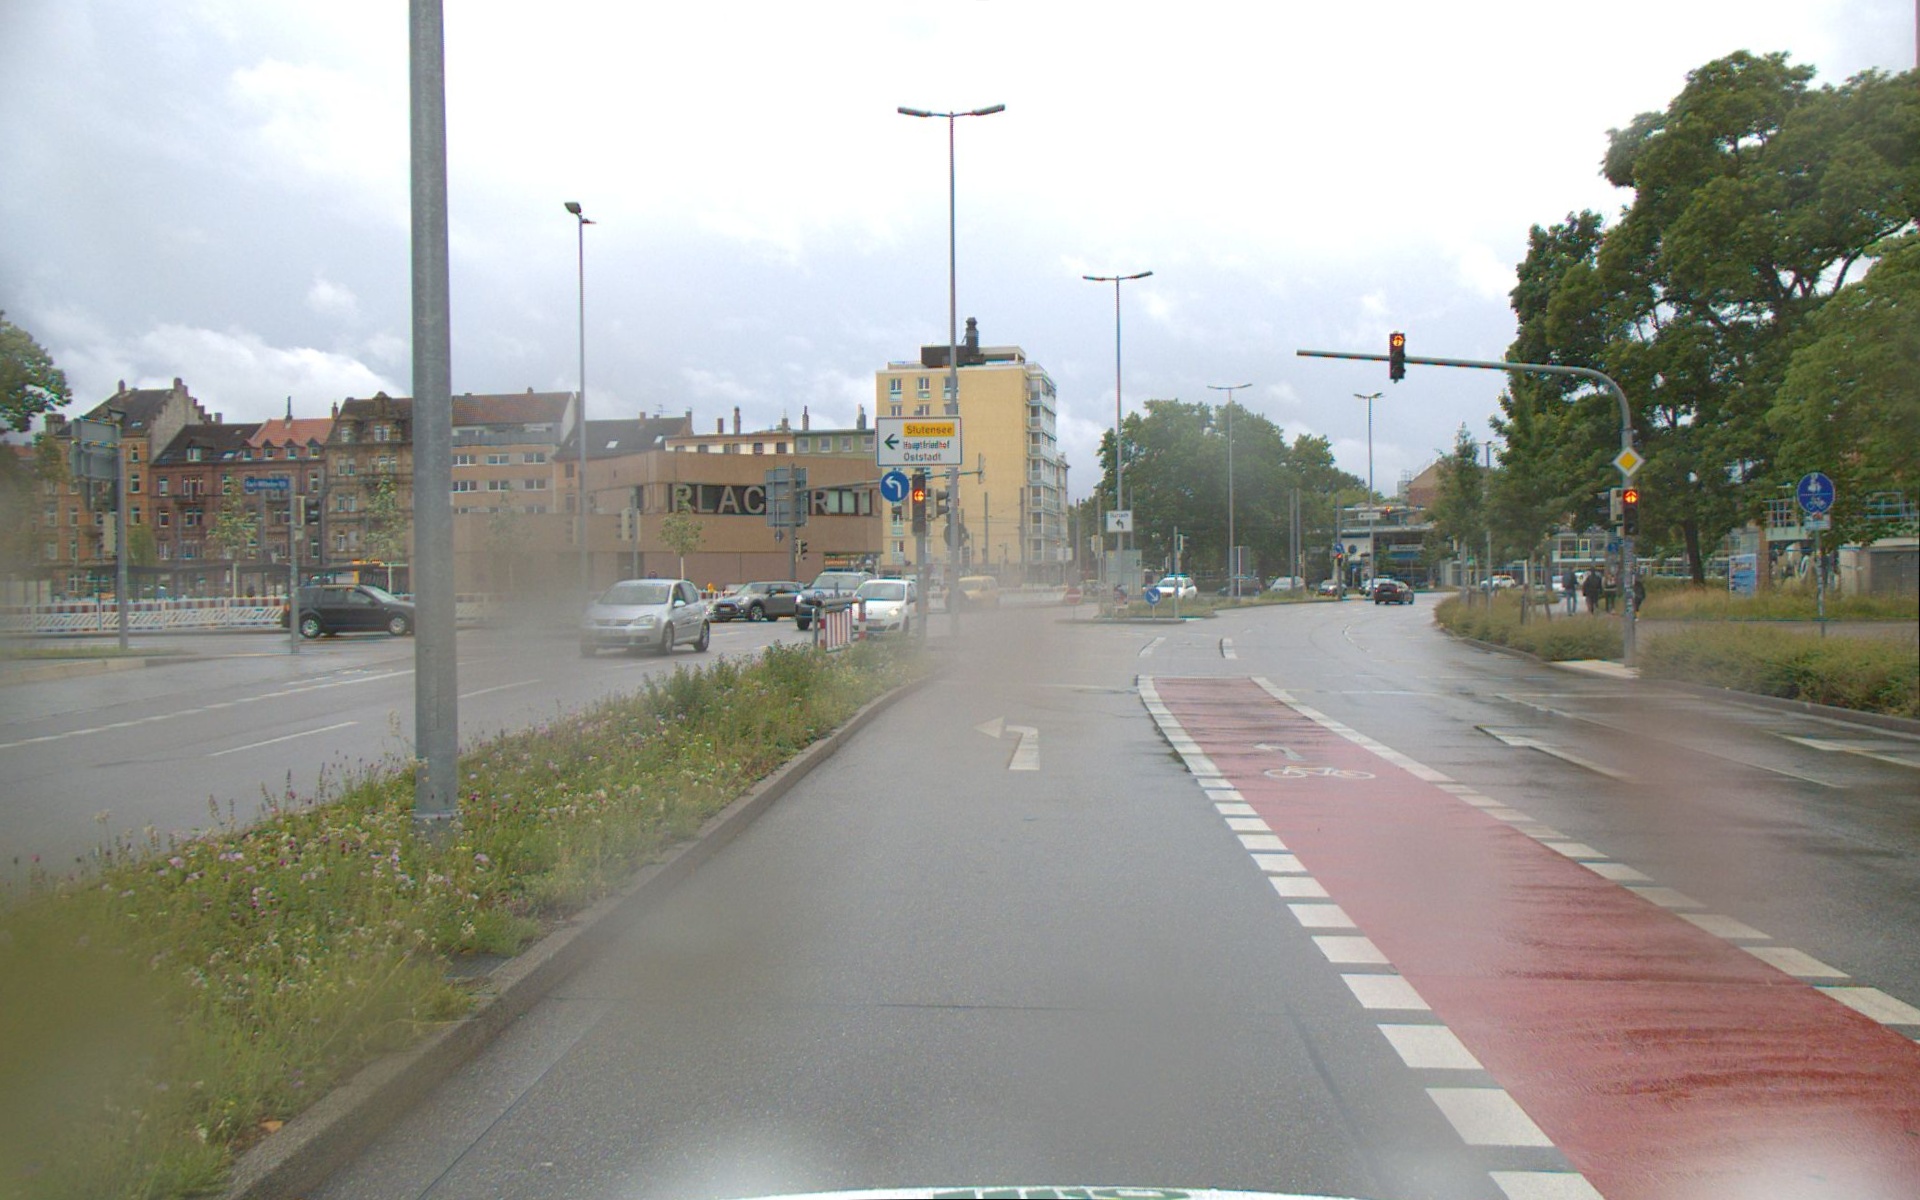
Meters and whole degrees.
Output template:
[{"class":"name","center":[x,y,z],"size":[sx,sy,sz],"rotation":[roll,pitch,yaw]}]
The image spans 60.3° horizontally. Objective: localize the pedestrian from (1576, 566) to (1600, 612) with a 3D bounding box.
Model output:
[{"class":"pedestrian","center":[22.735,-0.401,59.881],"size":[0.688,1.615,0.937],"rotation":[0,1,15]}]

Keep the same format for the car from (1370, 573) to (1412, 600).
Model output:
[{"class":"car","center":[27.236,-0.884,104.525],"size":[1.755,1.672,4.155],"rotation":[0,1,26]}]

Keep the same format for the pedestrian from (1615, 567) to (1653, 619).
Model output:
[{"class":"pedestrian","center":[21.302,-0.216,52.302],"size":[1.001,1.615,0.937],"rotation":[0,1,15]}]

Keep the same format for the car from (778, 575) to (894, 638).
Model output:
[{"class":"car","center":[-3.583,0.156,48.842],"size":[1.951,1.664,4.607],"rotation":[-2,1,15]}]

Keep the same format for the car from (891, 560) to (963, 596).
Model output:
[{"class":"car","center":[-3.218,-2.161,161.777],"size":[6.597,3.439,2.812],"rotation":[-1,1,8]}]

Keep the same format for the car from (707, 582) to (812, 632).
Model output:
[{"class":"car","center":[-7.256,0.232,60.244],"size":[1.676,1.735,3.807],"rotation":[0,1,35]}]

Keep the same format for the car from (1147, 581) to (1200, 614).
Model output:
[{"class":"car","center":[12.181,-0.168,94.084],"size":[1.788,1.711,5.167],"rotation":[-2,1,20]}]

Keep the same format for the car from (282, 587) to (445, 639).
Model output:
[{"class":"car","center":[-17.201,0.353,47.848],"size":[4.106,1.426,1.617],"rotation":[-1,1,-2]}]

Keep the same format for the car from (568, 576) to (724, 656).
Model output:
[{"class":"car","center":[-6.157,0.275,32.939],"size":[1.643,1.429,4.162],"rotation":[-2,1,10]}]

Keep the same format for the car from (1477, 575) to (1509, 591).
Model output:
[{"class":"car","center":[56.655,-1.796,175.792],"size":[1.762,1.672,4.375],"rotation":[0,1,39]}]

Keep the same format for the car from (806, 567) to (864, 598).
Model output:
[{"class":"car","center":[-12.303,-1.744,163.216],"size":[5.236,2.937,2.341],"rotation":[-1,1,8]}]

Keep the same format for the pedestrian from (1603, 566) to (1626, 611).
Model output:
[{"class":"pedestrian","center":[23.663,-0.420,59.805],"size":[0.688,1.615,0.937],"rotation":[0,1,15]}]

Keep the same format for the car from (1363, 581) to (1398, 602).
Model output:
[{"class":"car","center":[35.161,-0.694,138.205],"size":[1.663,1.439,4.175],"rotation":[-1,4,32]}]

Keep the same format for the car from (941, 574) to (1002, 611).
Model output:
[{"class":"car","center":[0.592,-0.393,81.823],"size":[1.670,1.735,4.153],"rotation":[0,1,21]}]

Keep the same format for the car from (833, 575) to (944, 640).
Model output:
[{"class":"car","center":[-1.789,0.163,42.439],"size":[1.643,1.527,3.871],"rotation":[-1,1,17]}]

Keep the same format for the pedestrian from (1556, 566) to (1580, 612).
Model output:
[{"class":"pedestrian","center":[21.909,-0.396,59.605],"size":[0.738,1.615,0.937],"rotation":[0,1,15]}]

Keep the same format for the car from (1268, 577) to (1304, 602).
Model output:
[{"class":"car","center":[25.787,-0.835,130.766],"size":[1.661,1.720,4.178],"rotation":[-1,2,28]}]
